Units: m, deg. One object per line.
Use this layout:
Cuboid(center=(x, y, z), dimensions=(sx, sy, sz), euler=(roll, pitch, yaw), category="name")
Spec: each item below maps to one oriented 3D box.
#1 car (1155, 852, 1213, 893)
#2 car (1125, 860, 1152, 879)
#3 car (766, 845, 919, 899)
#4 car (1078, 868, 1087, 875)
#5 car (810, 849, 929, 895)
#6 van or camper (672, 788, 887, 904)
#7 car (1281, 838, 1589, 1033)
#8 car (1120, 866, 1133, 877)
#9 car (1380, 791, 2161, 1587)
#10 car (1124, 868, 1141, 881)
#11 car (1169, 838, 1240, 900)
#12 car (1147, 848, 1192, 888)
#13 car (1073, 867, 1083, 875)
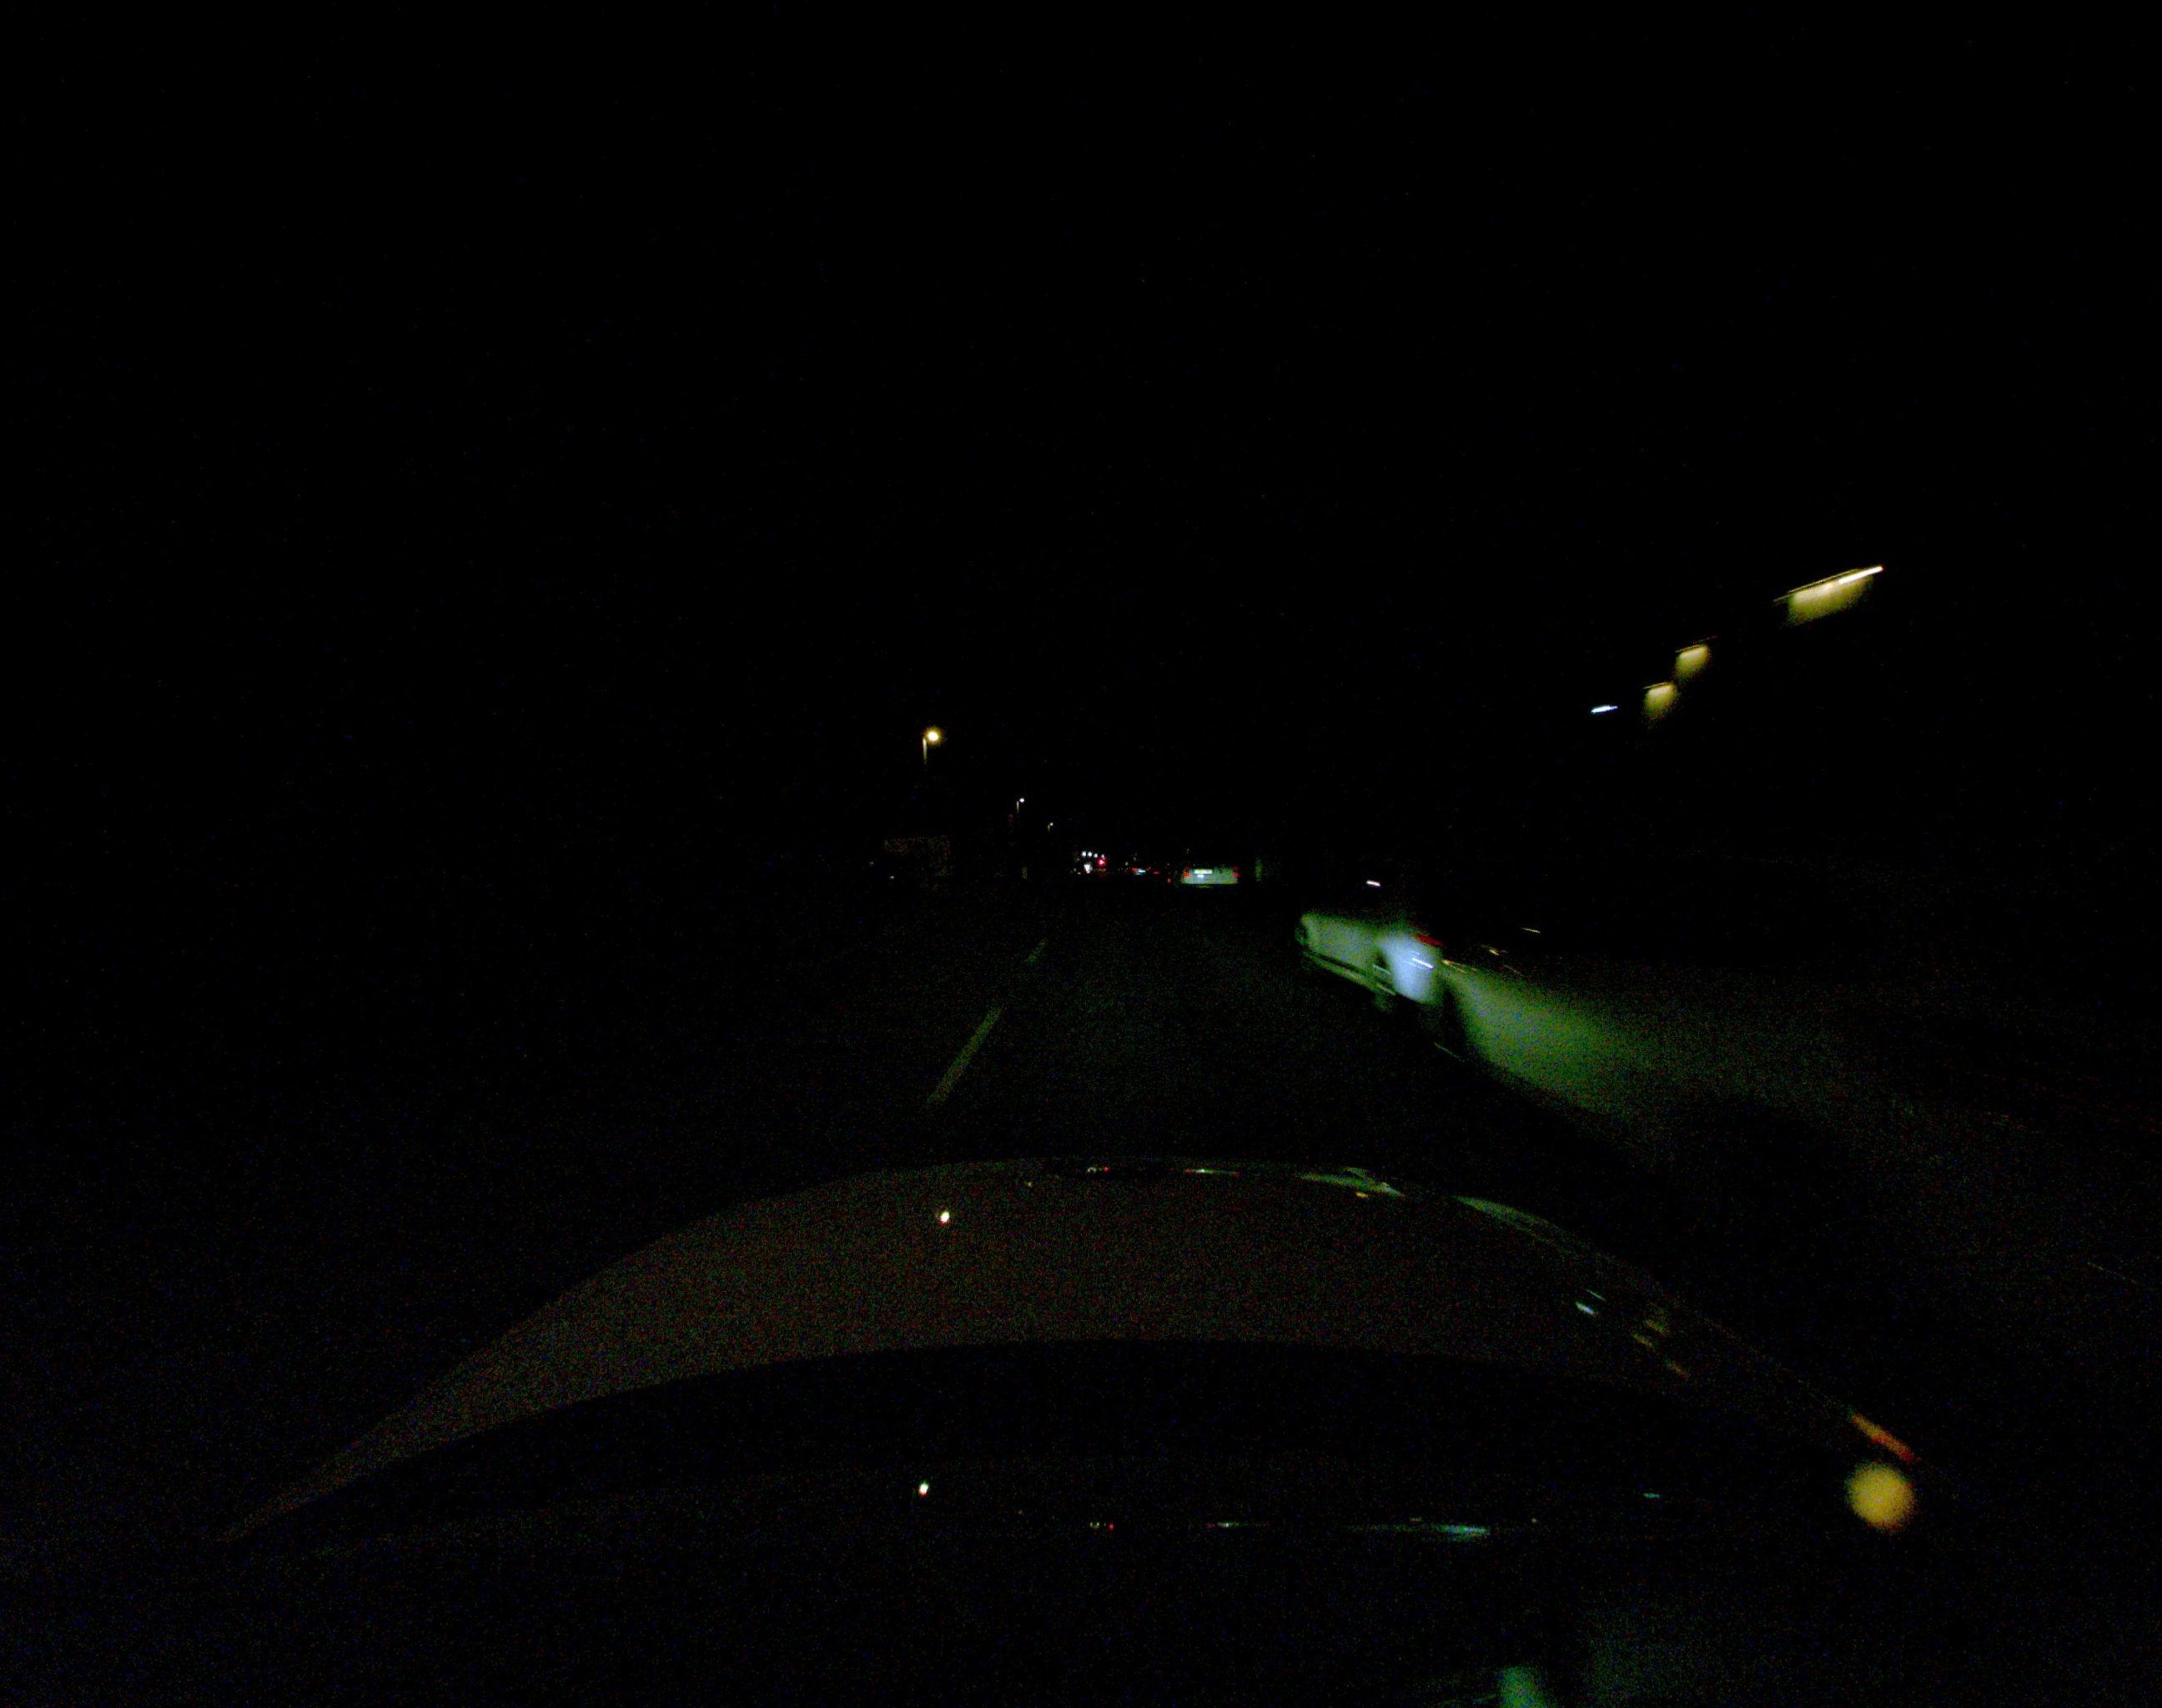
Cuboid(center=(3.880, 0.670, 31.237), dimensions=(1.737, 1.471, 4.257), euler=(1, 0, 1), category="car")
Cuboid(center=(4.672, 1.238, 66.410), dimensions=(1.758, 1.476, 4.272), euler=(1, -1, -2), category="car")
Cuboid(center=(-7.859, 0.597, 27.089), dimensions=(4.399, 1.613, 2.066), euler=(-1, -1, 2), category="car")
Cuboid(center=(0.285, 3.692, 173.493), dimensions=(1.747, 1.539, 3.730), euler=(-1, -1, 0), category="car")
Cuboid(center=(-7.698, 0.643, 29.913), dimensions=(3.797, 1.555, 1.928), euler=(-1, 1, 1), category="car")
Cuboid(center=(-8.448, -0.249, 23.368), dimensions=(5.396, 3.110, 2.126), euler=(-1, 0, -9), category="van or camper")
Cuboid(center=(3.330, 0.625, 8.470), dimensions=(1.603, 1.461, 3.718), euler=(-4, 1, 1), category="car")
Cuboid(center=(6.358, 2.475, 114.215), dimensions=(1.677, 1.449, 3.998), euler=(0, -1, 0), category="car")
Cuboid(center=(3.095, 0.646, 3.963), dimensions=(1.748, 1.594, 4.731), euler=(0, 0, 3), category="car")
Cuboid(center=(5.703, 2.266, 89.787), dimensions=(1.624, 1.439, 3.864), euler=(-1, -1, 0), category="car")
Cuboid(center=(3.808, 0.429, 25.745), dimensions=(1.712, 1.761, 4.760), euler=(0, 0, 2), category="car")
Cuboid(center=(3.933, 0.633, 36.864), dimensions=(1.824, 1.664, 4.623), euler=(-1, -1, 4), category="car")
Cuboid(center=(-0.554, 3.295, 156.383), dimensions=(1.748, 1.539, 3.728), euler=(-1, -1, -2), category="car")
